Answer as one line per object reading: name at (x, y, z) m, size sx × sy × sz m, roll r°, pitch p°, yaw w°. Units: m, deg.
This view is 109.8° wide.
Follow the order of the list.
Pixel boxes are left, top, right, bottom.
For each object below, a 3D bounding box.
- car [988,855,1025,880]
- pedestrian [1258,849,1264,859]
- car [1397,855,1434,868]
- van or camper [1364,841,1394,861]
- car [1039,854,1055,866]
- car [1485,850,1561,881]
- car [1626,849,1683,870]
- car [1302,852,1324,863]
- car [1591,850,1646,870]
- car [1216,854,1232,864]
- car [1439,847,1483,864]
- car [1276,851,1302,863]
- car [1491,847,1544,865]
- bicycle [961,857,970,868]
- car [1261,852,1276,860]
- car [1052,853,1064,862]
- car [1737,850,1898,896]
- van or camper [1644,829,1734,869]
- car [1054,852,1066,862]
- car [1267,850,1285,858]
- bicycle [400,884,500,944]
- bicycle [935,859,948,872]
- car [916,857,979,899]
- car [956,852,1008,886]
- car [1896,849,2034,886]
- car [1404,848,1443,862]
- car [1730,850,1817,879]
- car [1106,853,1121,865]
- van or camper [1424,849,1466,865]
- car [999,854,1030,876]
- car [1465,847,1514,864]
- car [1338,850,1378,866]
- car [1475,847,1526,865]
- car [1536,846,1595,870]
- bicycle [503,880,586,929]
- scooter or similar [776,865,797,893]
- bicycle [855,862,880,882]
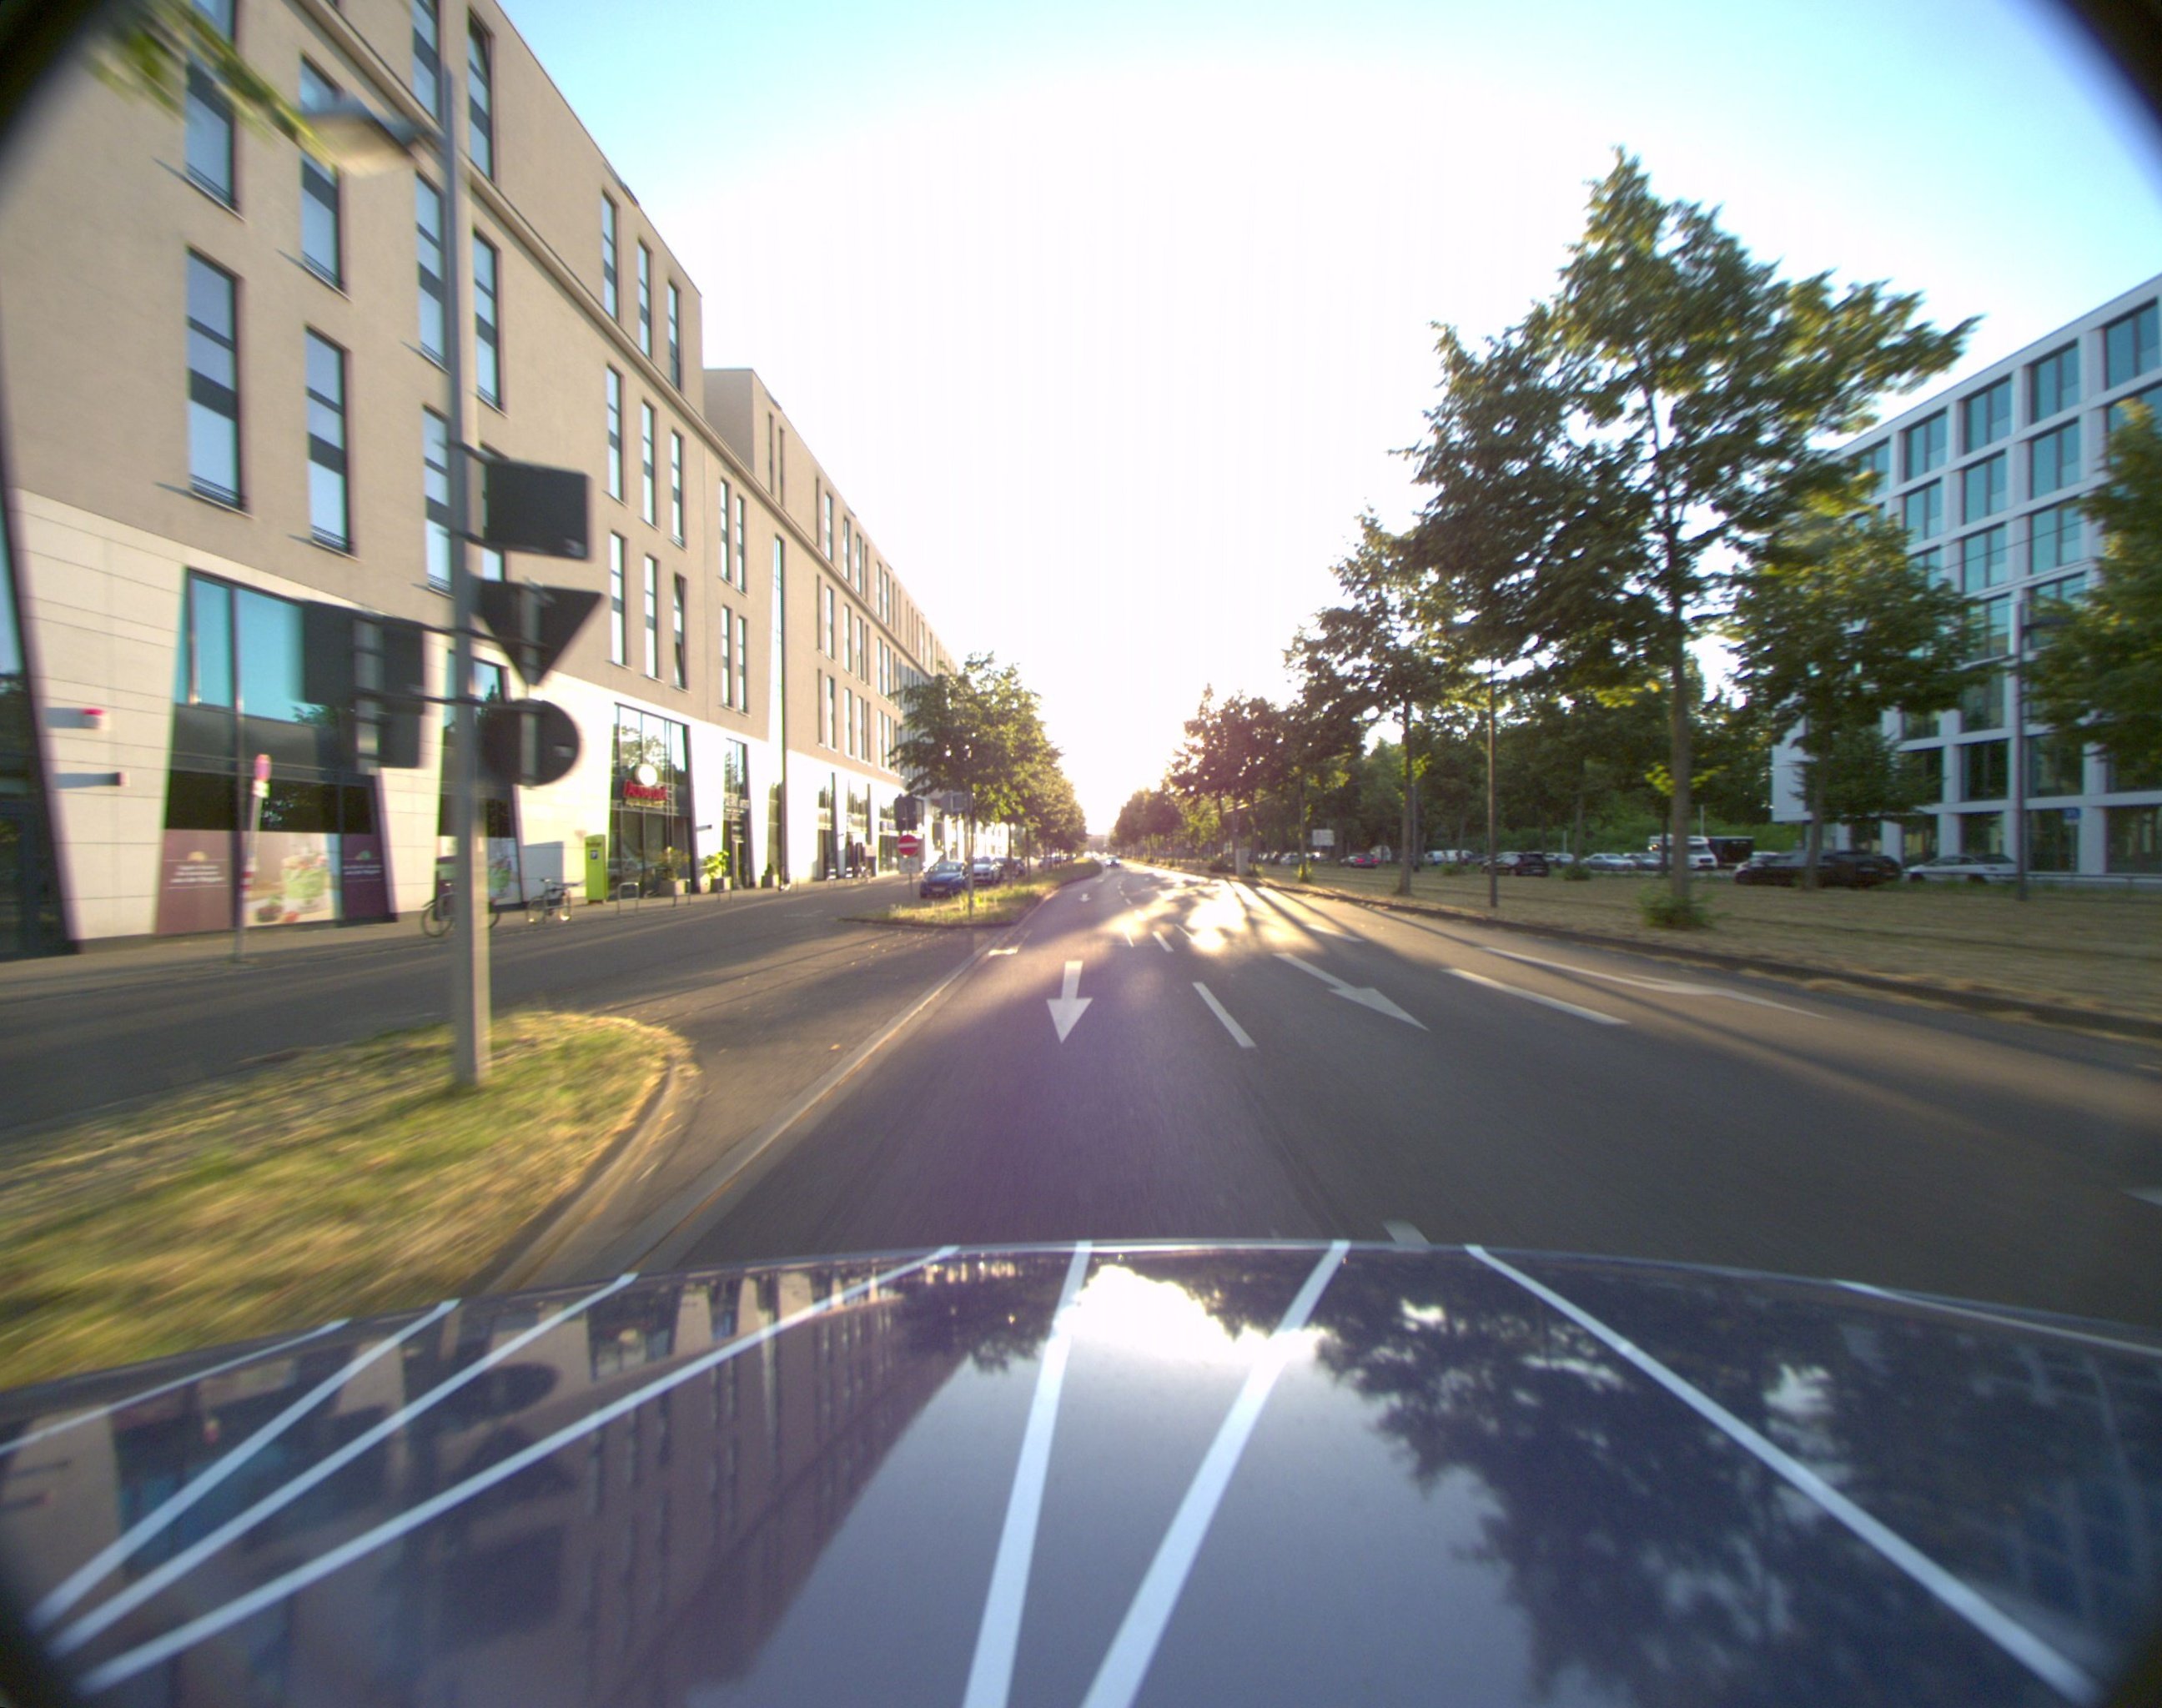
car at (-4.839, 0.837, 49.681) m, size 1.859 × 1.521 × 4.482 m, roll -2°, pitch 0°, yaw 1°
pedestrian at (33.542, 0.046, 141.560) m, size 0.695 × 1.859 × 0.866 m, roll -1°, pitch 1°, yaw -6°
car at (43.102, 0.926, 97.966) m, size 3.996 × 1.630 × 1.922 m, roll -1°, pitch 0°, yaw 2°
van or camper at (42.945, -0.438, 109.626) m, size 2.090 × 2.719 × 5.494 m, roll -1°, pitch 0°, yaw -1°
car at (-4.412, 0.778, 100.052) m, size 1.813 × 1.492 × 4.825 m, roll -1°, pitch 0°, yaw 0°
car at (23.263, 0.587, 40.149) m, size 1.807 × 1.538 × 3.727 m, roll -1°, pitch 0°, yaw 0°
car at (47.390, 0.431, 62.893) m, size 1.920 × 1.630 × 4.001 m, roll -1°, pitch 0°, yaw 4°
car at (36.124, 0.546, 118.432) m, size 1.998 × 1.739 × 4.790 m, roll -1°, pitch 0°, yaw 0°
car at (44.516, 0.486, 62.997) m, size 1.920 × 1.630 × 4.001 m, roll -1°, pitch 0°, yaw 4°
car at (24.917, 0.850, 132.321) m, size 1.890 × 1.569 × 4.182 m, roll -1°, pitch 0°, yaw -1°
car at (43.160, 0.212, 86.366) m, size 3.996 × 1.834 × 2.012 m, roll -1°, pitch 0°, yaw 1°
car at (23.899, 0.329, 87.301) m, size 1.661 × 1.324 × 4.529 m, roll -1°, pitch 0°, yaw -1°
car at (41.823, 0.193, 72.891) m, size 3.998 × 1.630 × 1.921 m, roll -1°, pitch 0°, yaw -2°
bicycle at (-11.778, 0.874, 77.486) m, size 0.534 × 1.054 × 1.857 m, roll 1°, pitch 0°, yaw 1°
car at (35.936, 0.396, 145.759) m, size 1.904 × 1.490 × 4.307 m, roll -1°, pitch 0°, yaw 2°
car at (-3.848, 0.599, 126.894) m, size 1.728 × 1.492 × 4.233 m, roll -2°, pitch 0°, yaw 1°
car at (26.167, 0.623, 27.224) m, size 1.661 × 1.493 × 4.189 m, roll -1°, pitch 0°, yaw -1°
van or camper at (49.892, -0.397, 62.560) m, size 2.716 × 3.067 × 6.264 m, roll -1°, pitch 0°, yaw 5°
car at (-3.685, 0.535, 134.509) m, size 1.958 × 1.614 × 4.821 m, roll -3°, pitch 0°, yaw 0°
car at (34.534, 0.043, 134.804) m, size 1.998 × 1.307 × 5.142 m, roll -1°, pitch 0°, yaw 2°
bicycle at (-12.822, 1.195, 15.507) m, size 0.447 × 1.066 × 1.774 m, roll 1°, pitch 1°, yaw 5°
bicycle at (-11.761, 0.948, 64.145) m, size 0.654 × 1.033 × 2.055 m, roll -1°, pitch 0°, yaw 1°
car at (-5.332, 0.914, 30.861) m, size 1.728 × 1.521 × 4.268 m, roll -2°, pitch 0°, yaw 1°
car at (-5.454, 0.762, 42.463) m, size 1.956 × 1.704 × 5.159 m, roll -2°, pitch 0°, yaw 2°
car at (39.647, 0.570, 34.213) m, size 1.864 × 1.572 × 3.784 m, roll -1°, pitch 0°, yaw 2°
car at (42.731, 0.143, 94.727) m, size 3.998 × 1.630 × 1.921 m, roll -1°, pitch 0°, yaw -2°
car at (39.697, 0.562, 43.644) m, size 1.864 × 1.572 × 3.492 m, roll -1°, pitch 0°, yaw 2°
car at (4.359, 0.640, 101.096) m, size 1.828 × 1.625 × 4.000 m, roll -1°, pitch 0°, yaw 0°
van or camper at (42.854, 0.323, 89.460) m, size 4.000 × 1.780 × 1.998 m, roll -1°, pitch 0°, yaw -9°
car at (-4.944, 0.801, 56.923) m, size 1.948 × 1.540 × 4.811 m, roll -1°, pitch 0°, yaw -1°
car at (41.941, 0.178, 78.092) m, size 3.998 × 1.630 × 1.921 m, roll -1°, pitch 0°, yaw -2°
car at (23.795, 0.351, 65.328) m, size 1.661 × 1.324 × 4.741 m, roll -1°, pitch 0°, yaw -1°
car at (41.762, 0.194, 75.708) m, size 3.998 × 1.630 × 1.921 m, roll -1°, pitch 0°, yaw -2°
car at (42.355, 0.343, 66.540) m, size 1.998 × 2.002 × 4.931 m, roll -1°, pitch 0°, yaw 0°
bicycle at (-12.842, 1.187, 18.269) m, size 0.519 × 1.054 × 1.961 m, roll 2°, pitch -1°, yaw 2°
scooter or similar at (-12.858, 1.074, 33.204) m, size 0.357 × 1.180 × 1.310 m, roll 1°, pitch 0°, yaw 2°
bicycle at (-12.158, 1.002, 43.264) m, size 0.571 × 1.118 × 1.835 m, roll 1°, pitch 0°, yaw 12°
